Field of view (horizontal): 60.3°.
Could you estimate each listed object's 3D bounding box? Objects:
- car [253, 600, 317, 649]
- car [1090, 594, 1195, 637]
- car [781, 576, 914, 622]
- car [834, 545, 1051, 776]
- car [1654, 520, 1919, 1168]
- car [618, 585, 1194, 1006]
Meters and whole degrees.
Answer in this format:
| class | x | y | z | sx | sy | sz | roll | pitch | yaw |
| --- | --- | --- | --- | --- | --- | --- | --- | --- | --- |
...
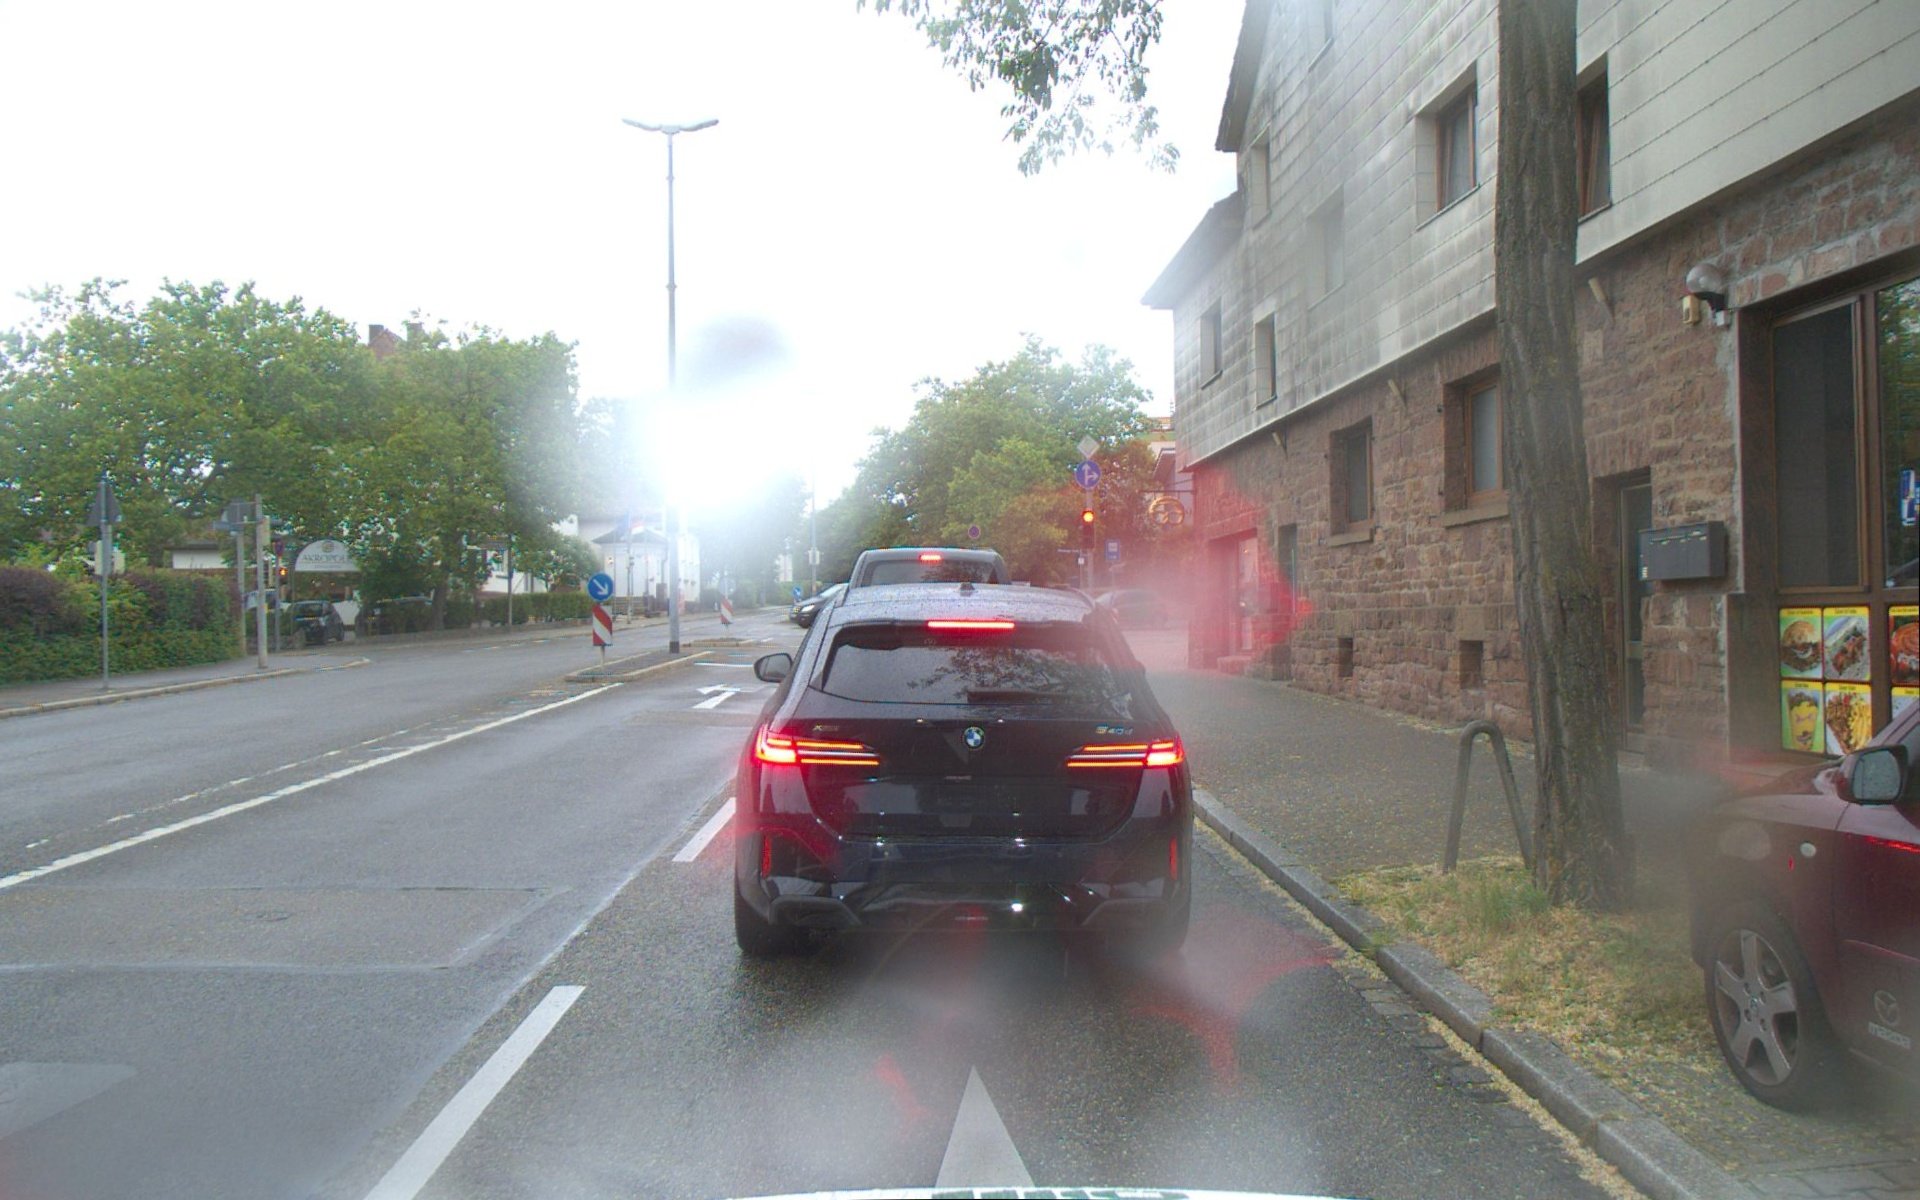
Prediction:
| class | x | y | z | sx | sy | sz | roll | pitch | yaw |
| --- | --- | --- | --- | --- | --- | --- | --- | --- | --- |
| car | -23.405 | 0.820 | 57.394 | 1.966 | 1.579 | 3.973 | 0 | 1 | -22 |
| car | 6.785 | 0.567 | 61.734 | 3.858 | 1.536 | 2.001 | 0 | 1 | 5 |
| car | -4.047 | -0.034 | 59.539 | 4.402 | 1.614 | 2.059 | 1 | 0 | -20 |
| car | -0.238 | 0.461 | 15.321 | 1.748 | 1.849 | 3.998 | 0 | 1 | -3 |
| car | 3.045 | 0.545 | 3.270 | 1.553 | 1.516 | 3.624 | -3 | 1 | -4 |
| car | -0.303 | 0.682 | 8.089 | 2.023 | 1.472 | 4.480 | 1 | 0 | -3 |
